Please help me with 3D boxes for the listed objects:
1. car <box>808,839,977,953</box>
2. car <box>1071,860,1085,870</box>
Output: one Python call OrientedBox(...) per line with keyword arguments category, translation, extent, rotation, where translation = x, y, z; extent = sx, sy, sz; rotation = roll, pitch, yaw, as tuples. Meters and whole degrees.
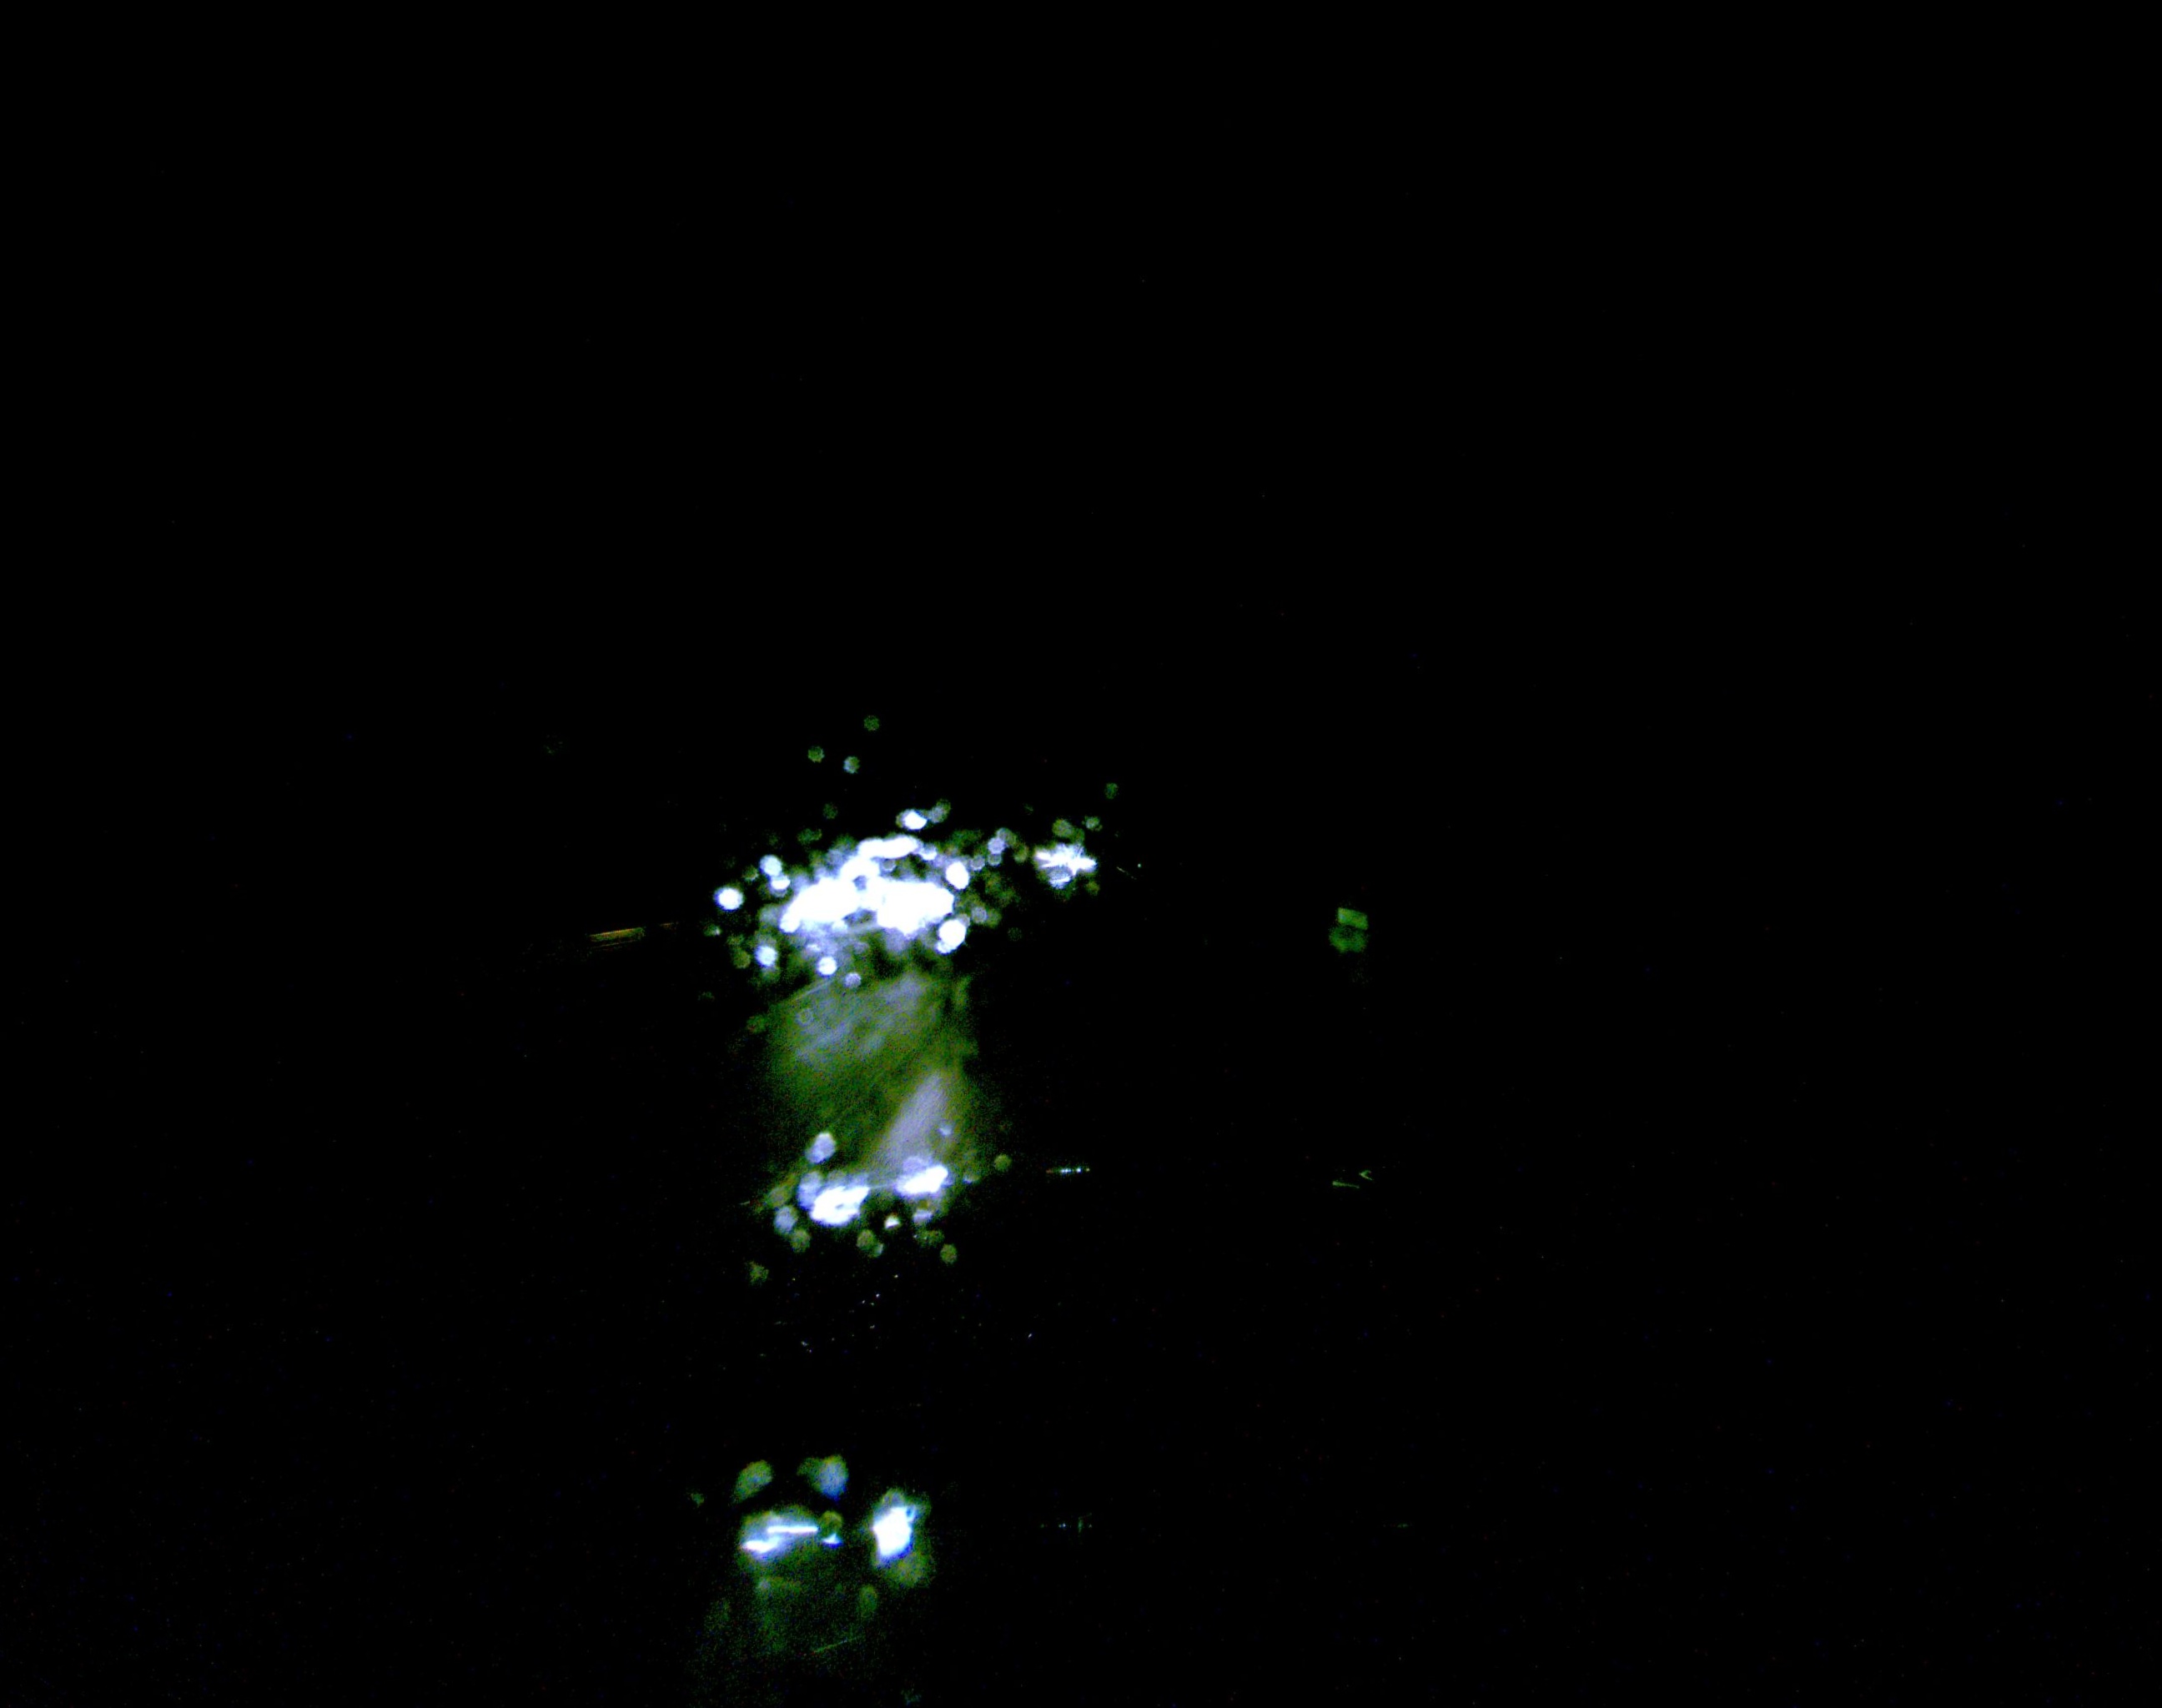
OrientedBox(category="car", translation=(-3.229, 0.682, 14.926), extent=(1.986, 1.793, 4.248), rotation=(0, -1, 2))
OrientedBox(category="car", translation=(-0.402, 1.595, 120.487), extent=(1.986, 1.448, 4.430), rotation=(0, 0, 1))
